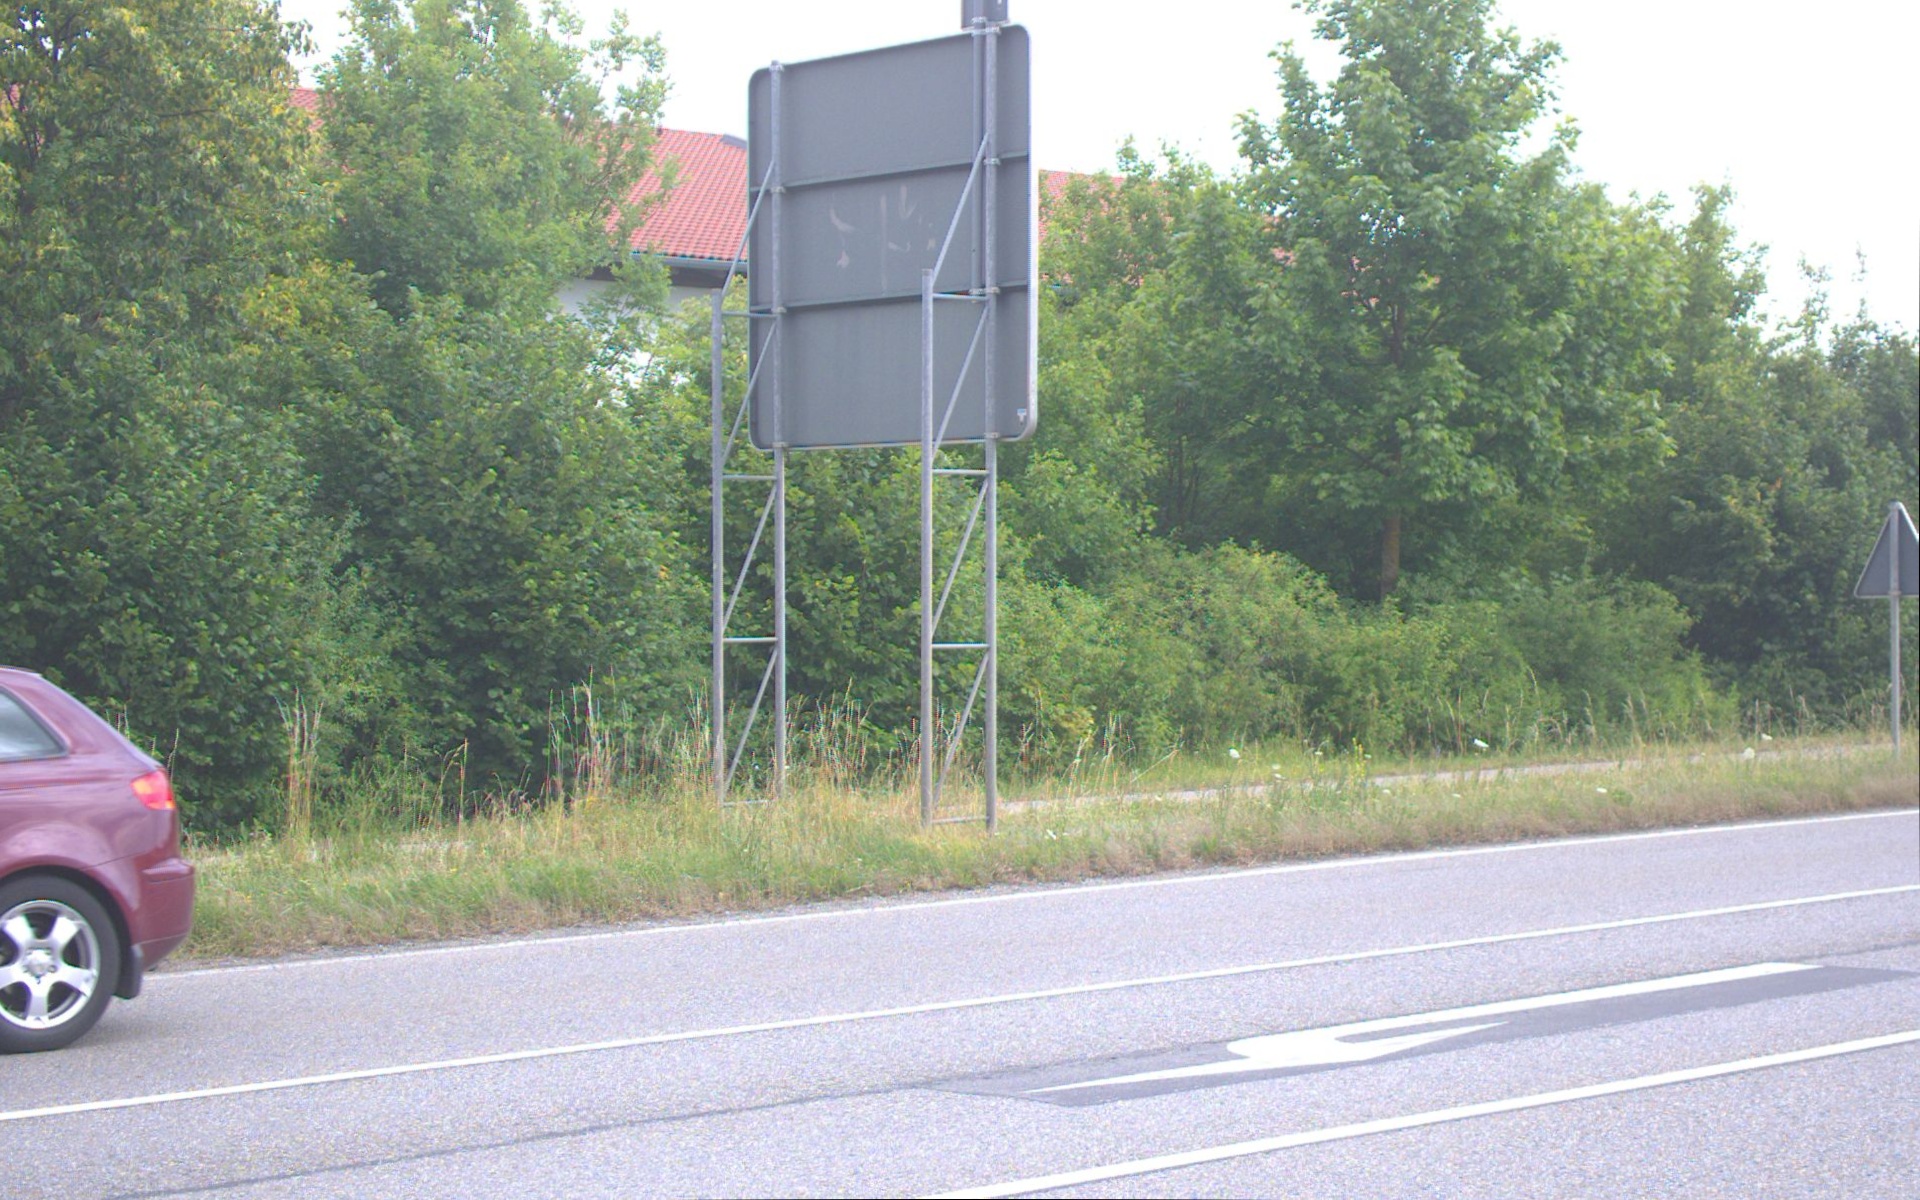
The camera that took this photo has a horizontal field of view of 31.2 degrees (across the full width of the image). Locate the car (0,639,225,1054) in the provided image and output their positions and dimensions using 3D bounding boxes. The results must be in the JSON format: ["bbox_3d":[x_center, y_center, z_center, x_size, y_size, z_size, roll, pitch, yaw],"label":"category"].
[{"bbox_3d":[-4.708,0.877,11.546,4.078,1.397,1.677,-1,0,-43],"label":"car"}]
